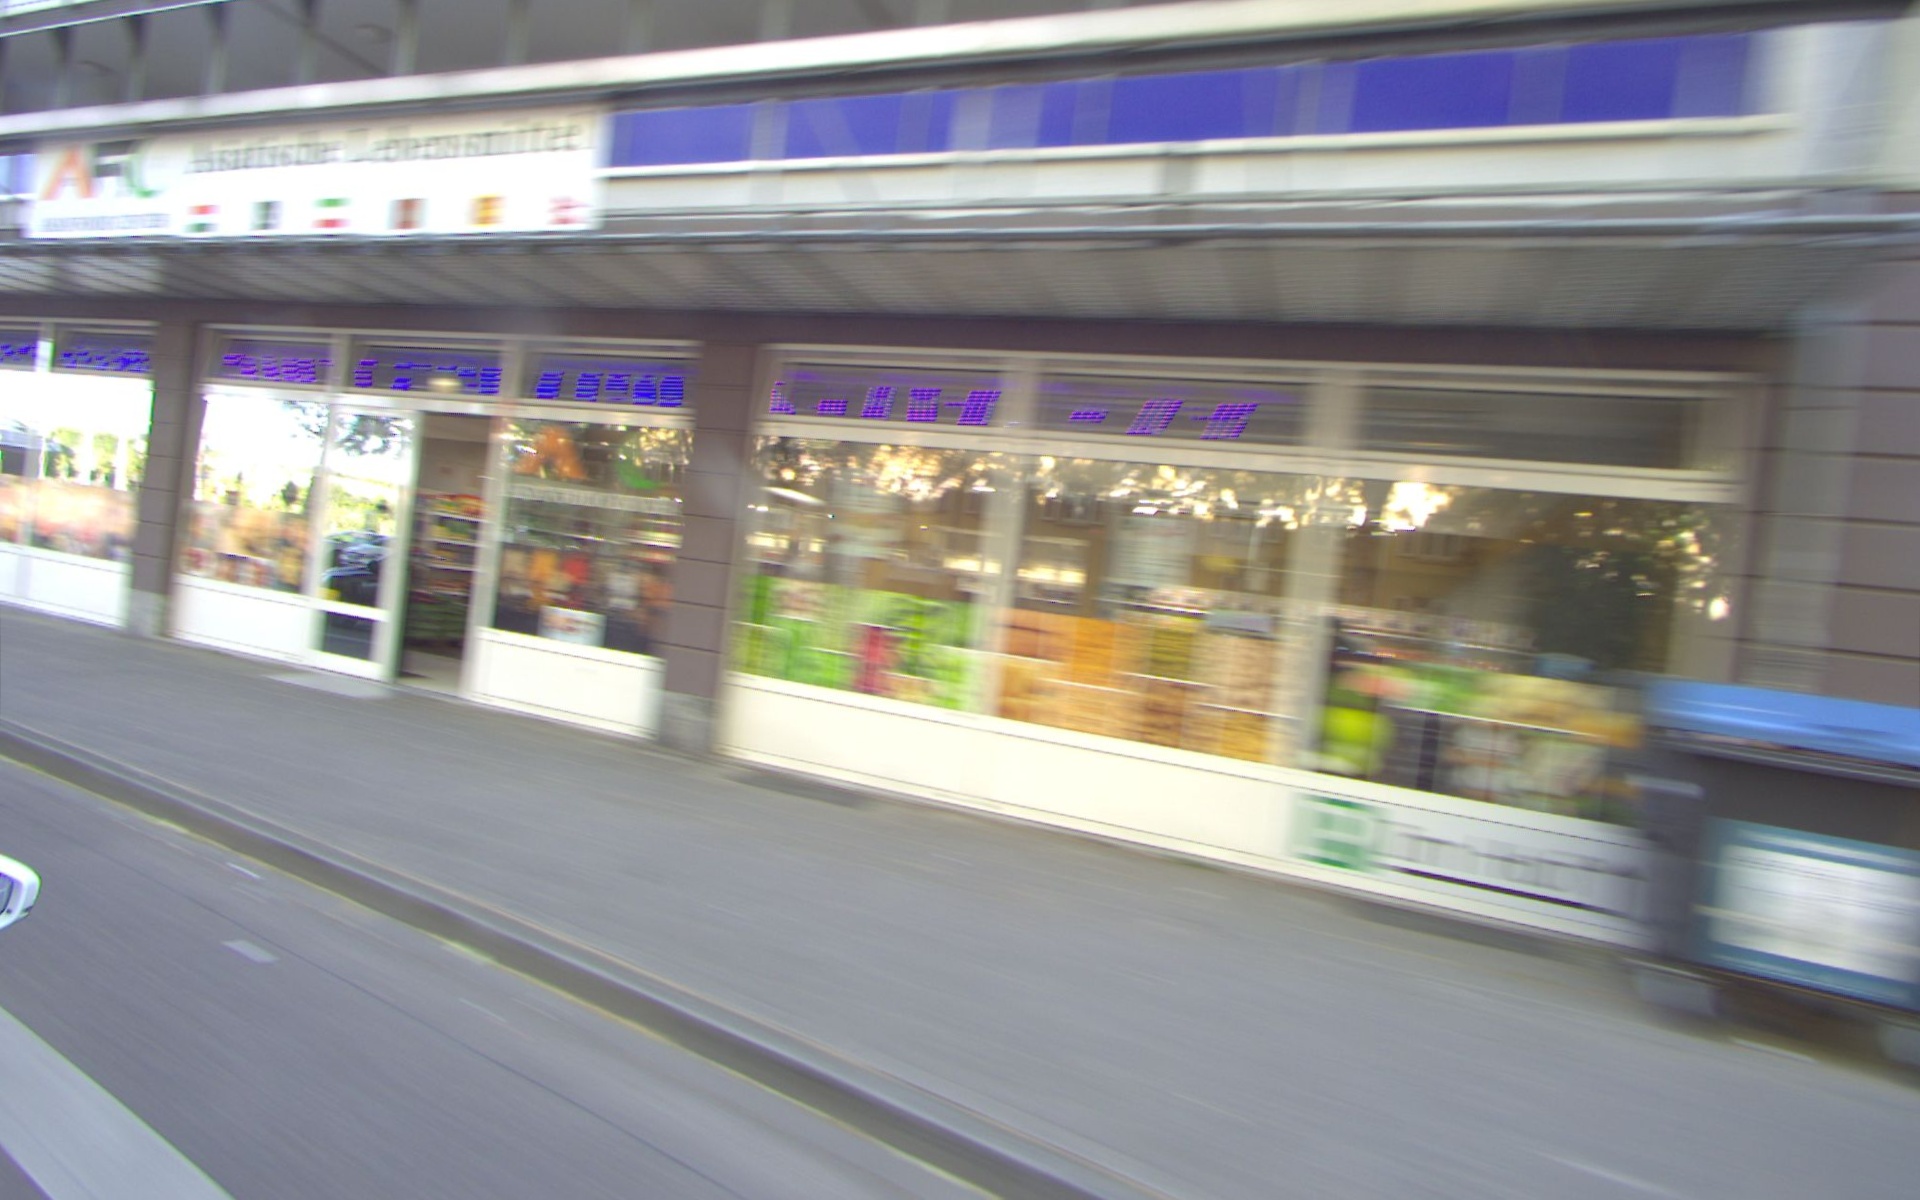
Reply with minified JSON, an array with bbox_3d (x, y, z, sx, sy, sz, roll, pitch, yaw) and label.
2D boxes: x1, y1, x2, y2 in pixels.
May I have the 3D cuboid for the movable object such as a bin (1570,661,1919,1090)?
[{"bbox_3d":[3.557,1.082,4.339,1.273,1.465,1.069,7,1,23],"label":"movable object such as a bin"}]
